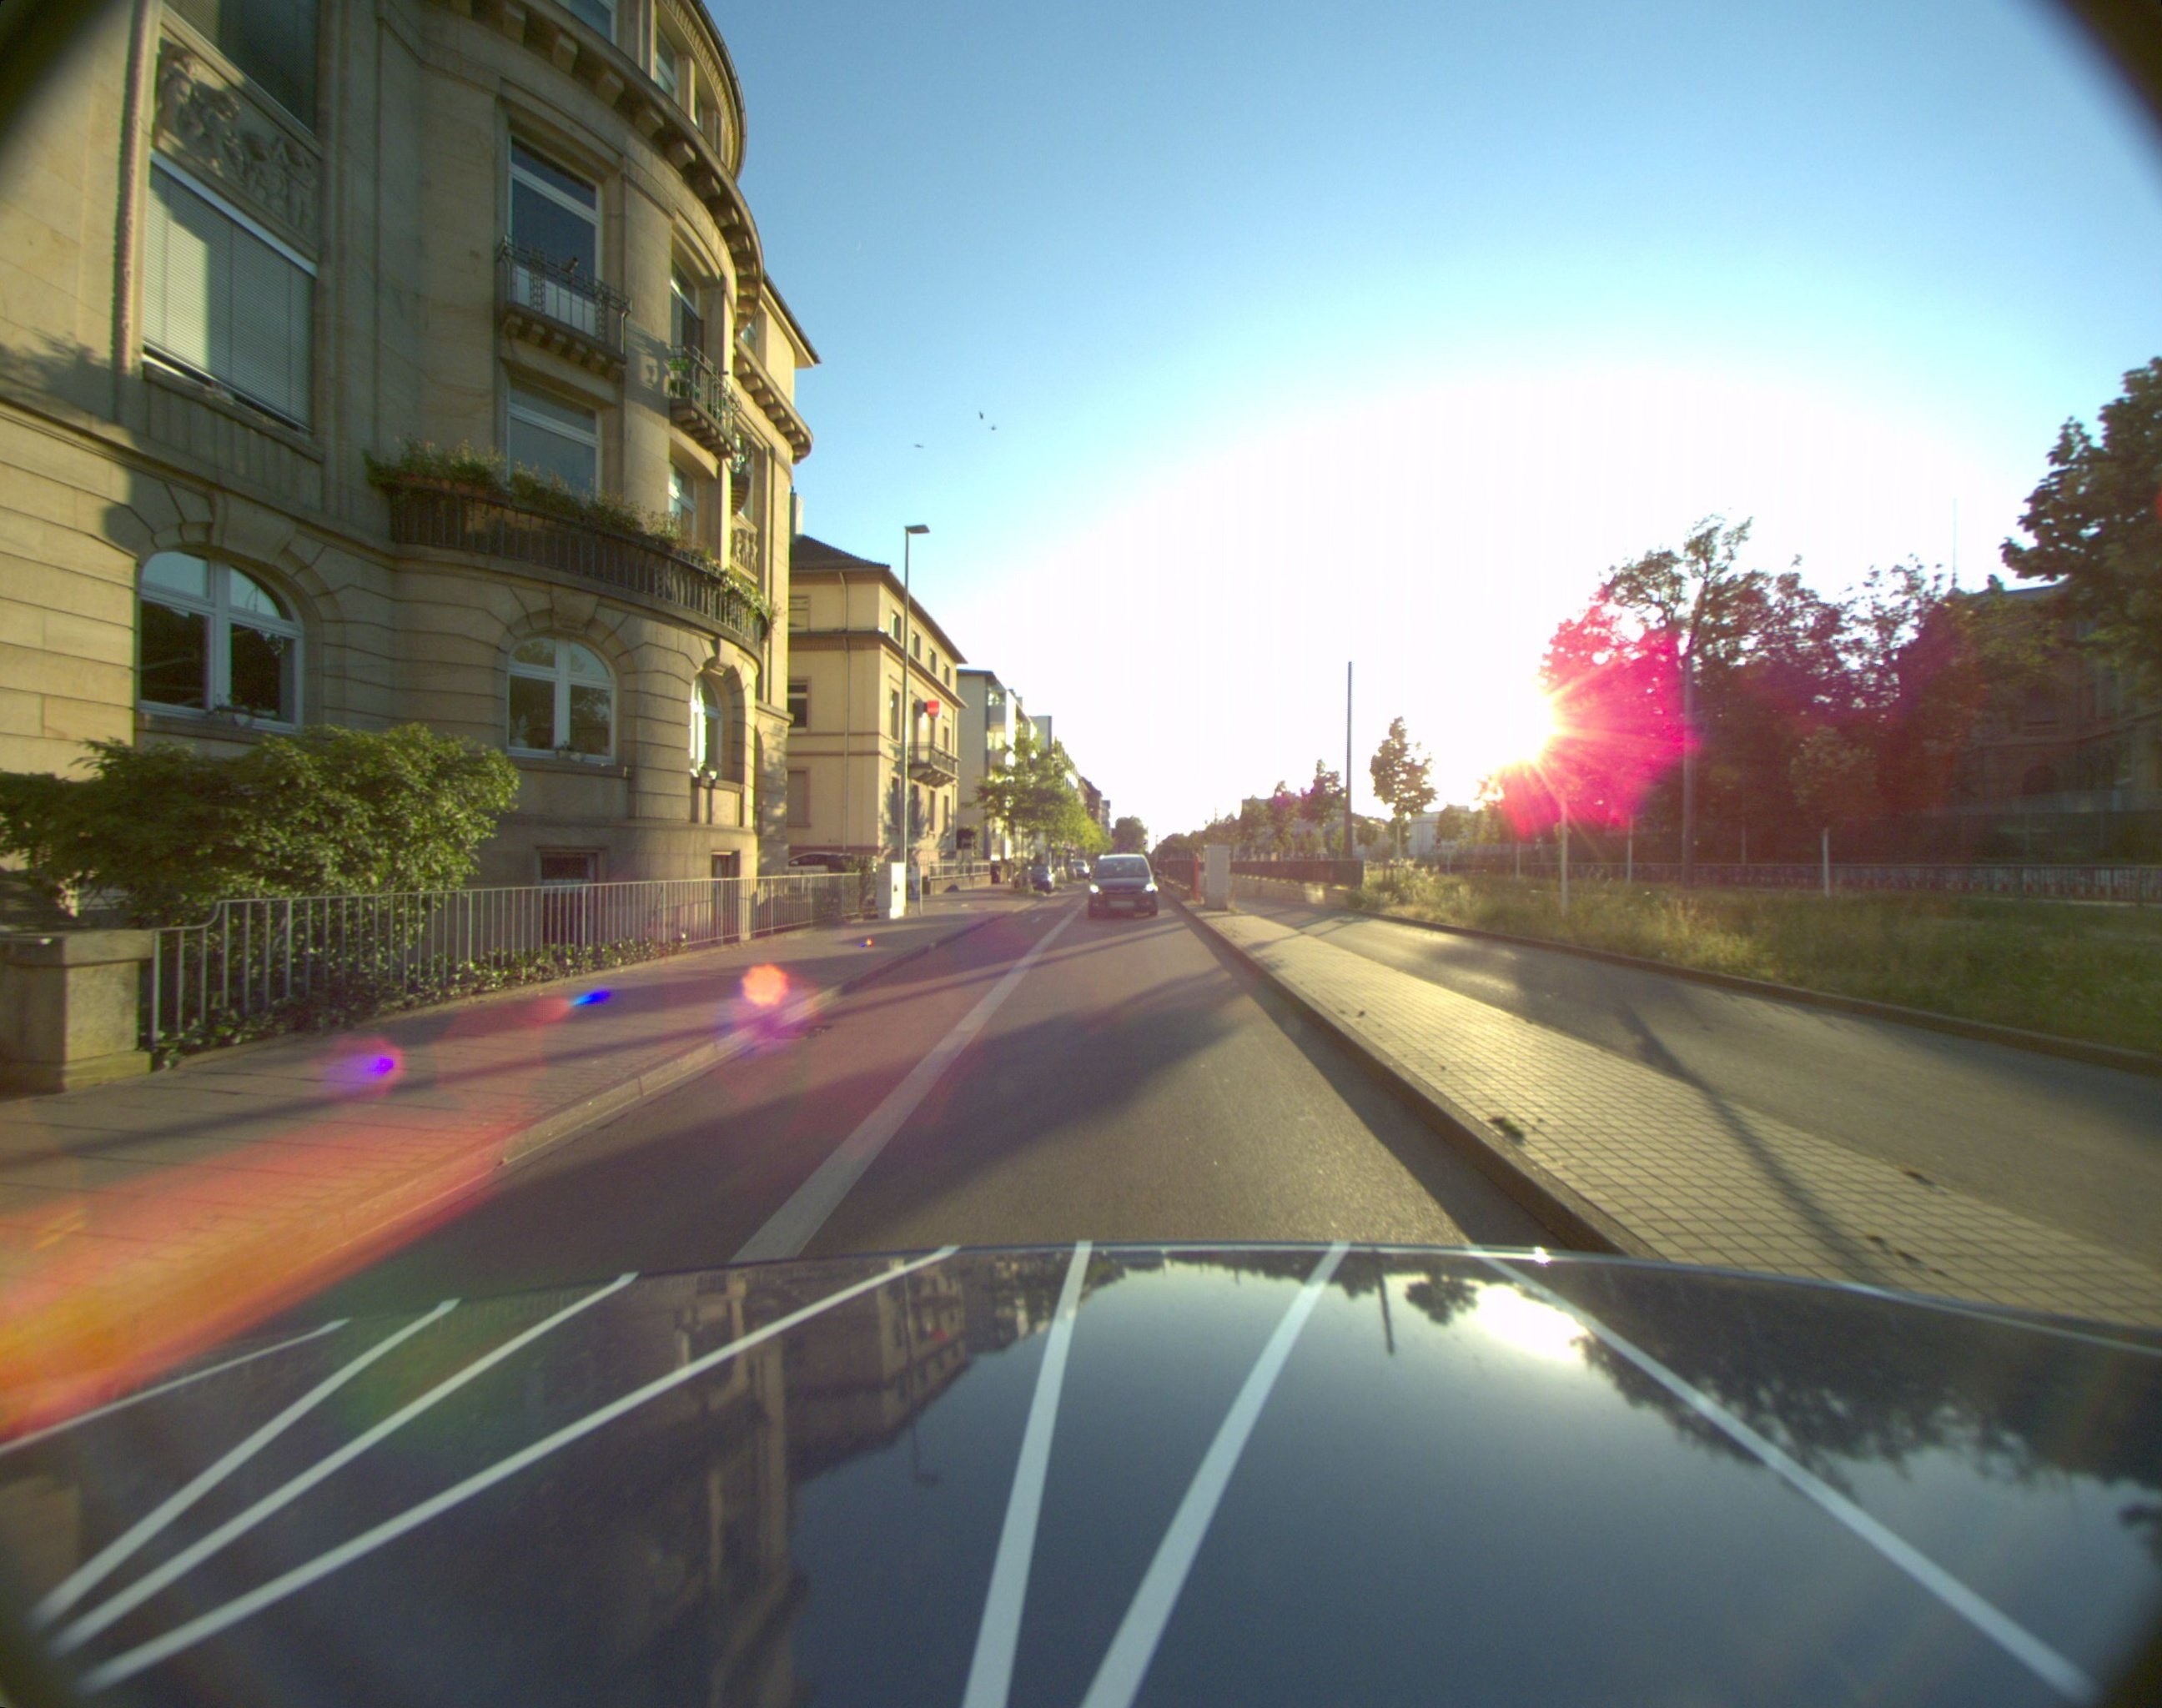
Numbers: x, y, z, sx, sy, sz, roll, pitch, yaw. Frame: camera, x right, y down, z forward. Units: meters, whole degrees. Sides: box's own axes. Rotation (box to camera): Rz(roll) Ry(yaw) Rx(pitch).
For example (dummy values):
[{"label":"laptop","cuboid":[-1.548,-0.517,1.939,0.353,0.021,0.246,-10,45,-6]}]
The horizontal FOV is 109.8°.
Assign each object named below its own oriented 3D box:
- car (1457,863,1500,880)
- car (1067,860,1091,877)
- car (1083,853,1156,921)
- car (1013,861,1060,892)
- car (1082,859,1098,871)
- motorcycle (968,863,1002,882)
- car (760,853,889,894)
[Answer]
[{"label":"car","cuboid":[36.658,1.645,70.163,1.936,1.472,4.525,-1,-1,6]},{"label":"car","cuboid":[-0.148,1.235,66.094,1.936,1.472,4.101,0,0,2]},{"label":"car","cuboid":[1.142,0.803,21.268,1.770,1.649,4.854,1,0,4]},{"label":"car","cuboid":[-2.124,1.066,37.069,1.882,1.394,4.101,0,0,2]},{"label":"car","cuboid":[1.165,1.307,95.264,1.936,1.472,4.101,0,0,2]},{"label":"motorcycle","cuboid":[-5.604,1.057,44.469,1.848,1.090,0.576,0,0,9]},{"label":"car","cuboid":[-9.441,0.707,28.205,4.096,1.472,1.939,0,0,4]}]
